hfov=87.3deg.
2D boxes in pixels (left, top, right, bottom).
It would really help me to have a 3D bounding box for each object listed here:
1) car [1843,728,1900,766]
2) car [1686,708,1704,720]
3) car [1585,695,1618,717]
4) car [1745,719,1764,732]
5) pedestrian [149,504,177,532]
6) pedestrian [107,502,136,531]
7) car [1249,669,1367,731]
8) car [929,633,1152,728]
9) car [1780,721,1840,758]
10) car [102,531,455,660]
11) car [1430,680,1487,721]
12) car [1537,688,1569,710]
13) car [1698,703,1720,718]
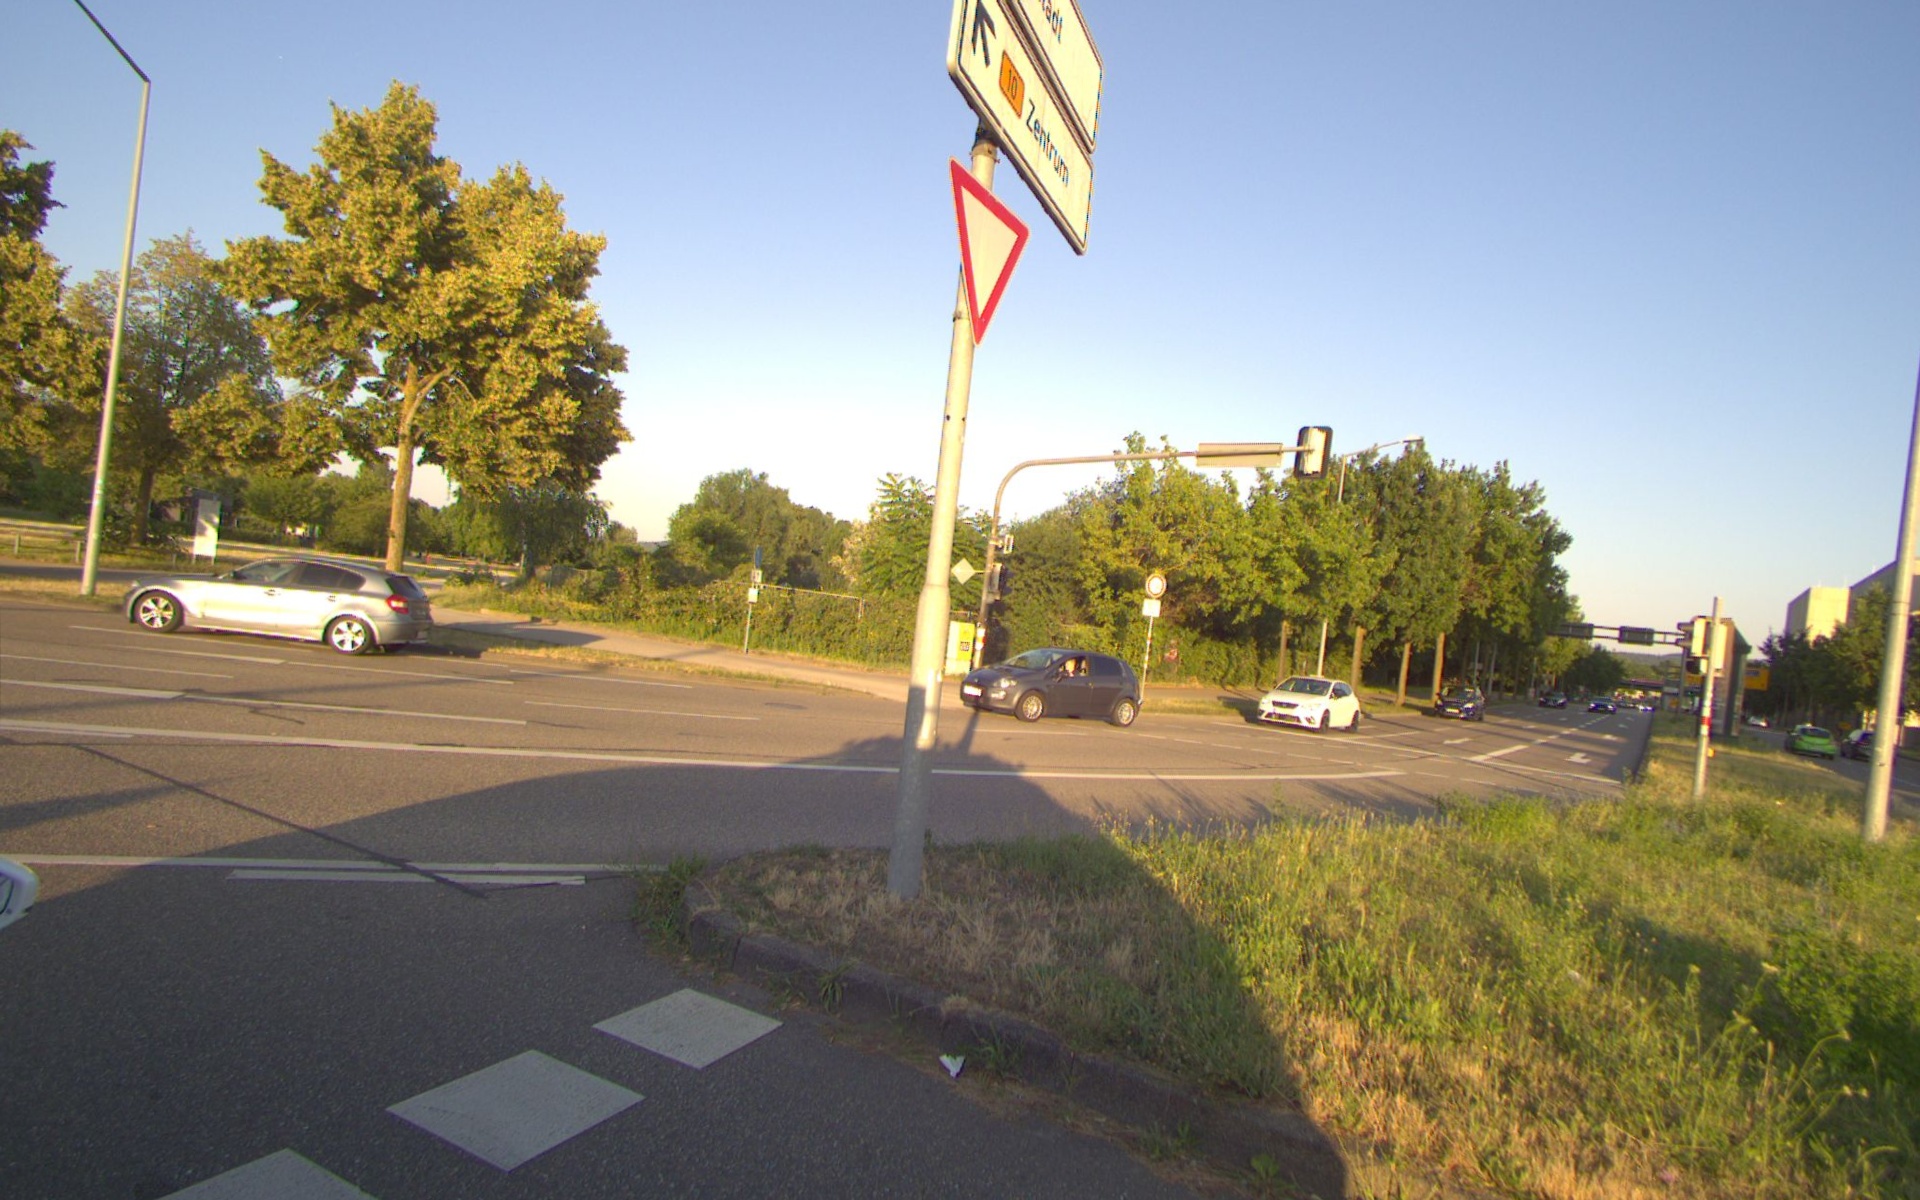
[{"bbox_3d":[48.200,7.732,53.251,1.708,1.596,4.315,7,-1,37],"label":"car"},{"bbox_3d":[117.055,18.123,160.233,1.968,1.648,3.990,7,-1,34],"label":"car"},{"bbox_3d":[54.292,8.991,85.082,1.969,1.523,4.758,7,-1,35],"label":"car"},{"bbox_3d":[113.132,17.879,143.300,1.971,1.444,4.182,7,-1,39],"label":"car"},{"bbox_3d":[-50.852,-5.232,64.175,0.896,1.637,1.070,7,0,34],"label":"pedestrian"},{"bbox_3d":[-52.538,-5.227,63.046,0.896,1.637,1.070,7,0,34],"label":"pedestrian"},{"bbox_3d":[9.453,2.734,27.181,1.842,1.469,3.959,0,-5,37],"label":"car"},{"bbox_3d":[1.659,1.629,20.178,4.124,1.470,1.852,8,-3,-34],"label":"car"},{"bbox_3d":[42.201,6.887,50.015,1.662,1.437,3.991,5,-2,33],"label":"car"},{"bbox_3d":[-10.535,-0.043,15.910,4.095,1.407,1.864,7,-1,-13],"label":"car"},{"bbox_3d":[23.498,4.718,47.339,1.884,1.602,4.173,7,-1,32],"label":"car"},{"bbox_3d":[51.017,8.505,86.515,1.968,1.523,4.610,7,-1,33],"label":"car"},{"bbox_3d":[96.889,14.284,130.204,1.968,1.648,3.990,7,-1,34],"label":"car"}]
